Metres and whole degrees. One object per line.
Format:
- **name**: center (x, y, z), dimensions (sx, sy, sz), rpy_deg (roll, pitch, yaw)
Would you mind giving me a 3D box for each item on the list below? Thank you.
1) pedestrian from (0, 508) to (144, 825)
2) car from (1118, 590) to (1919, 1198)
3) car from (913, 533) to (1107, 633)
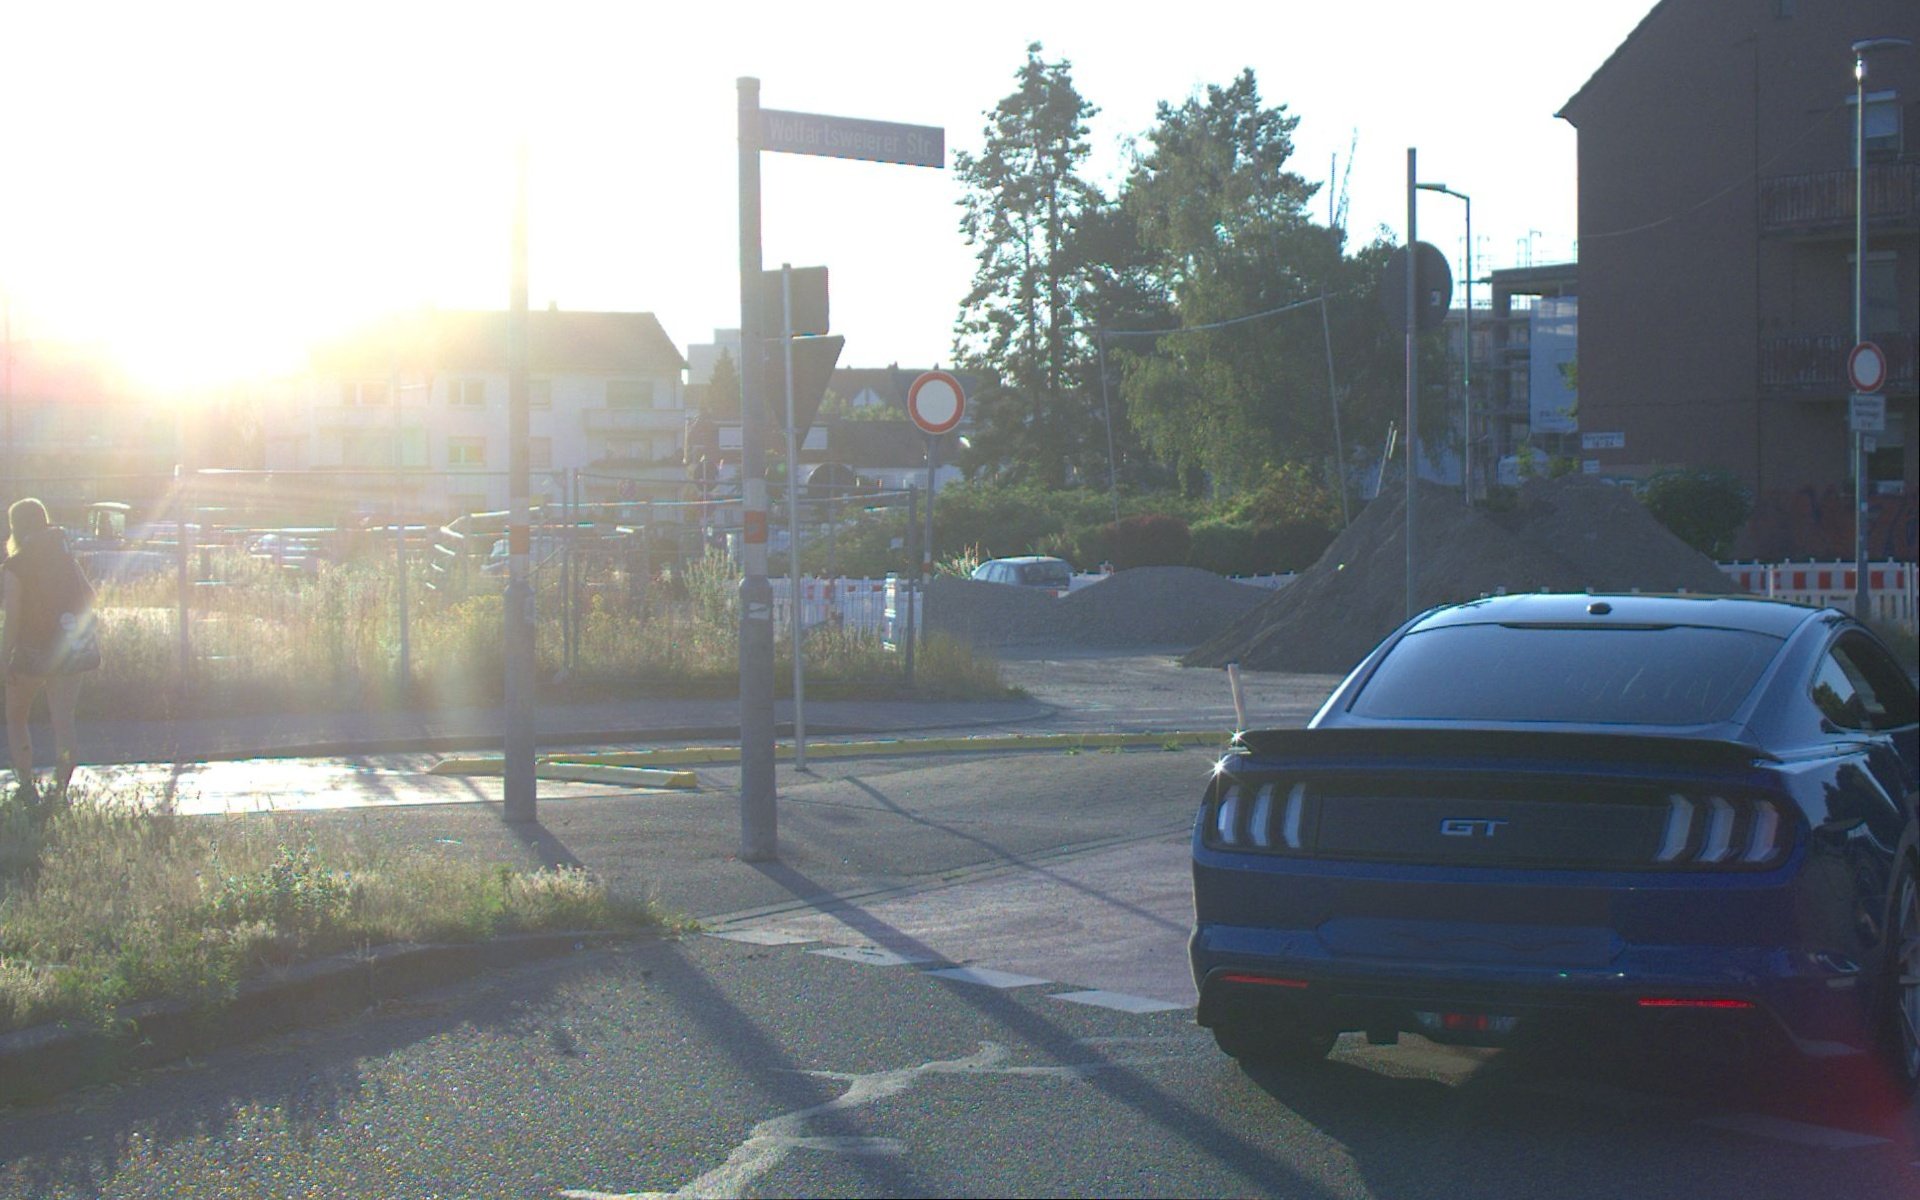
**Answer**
- **pedestrian**: center (-4.905, 0.341, 18.758), dimensions (0.843, 1.680, 0.887), rpy_deg (0, 1, -15)
- **car**: center (2.158, 0.685, 10.628), dimensions (1.953, 1.337, 4.666), rpy_deg (1, 1, 21)
- **car**: center (0.839, -0.334, 60.654), dimensions (1.993, 1.700, 4.001), rpy_deg (-1, 1, -23)
